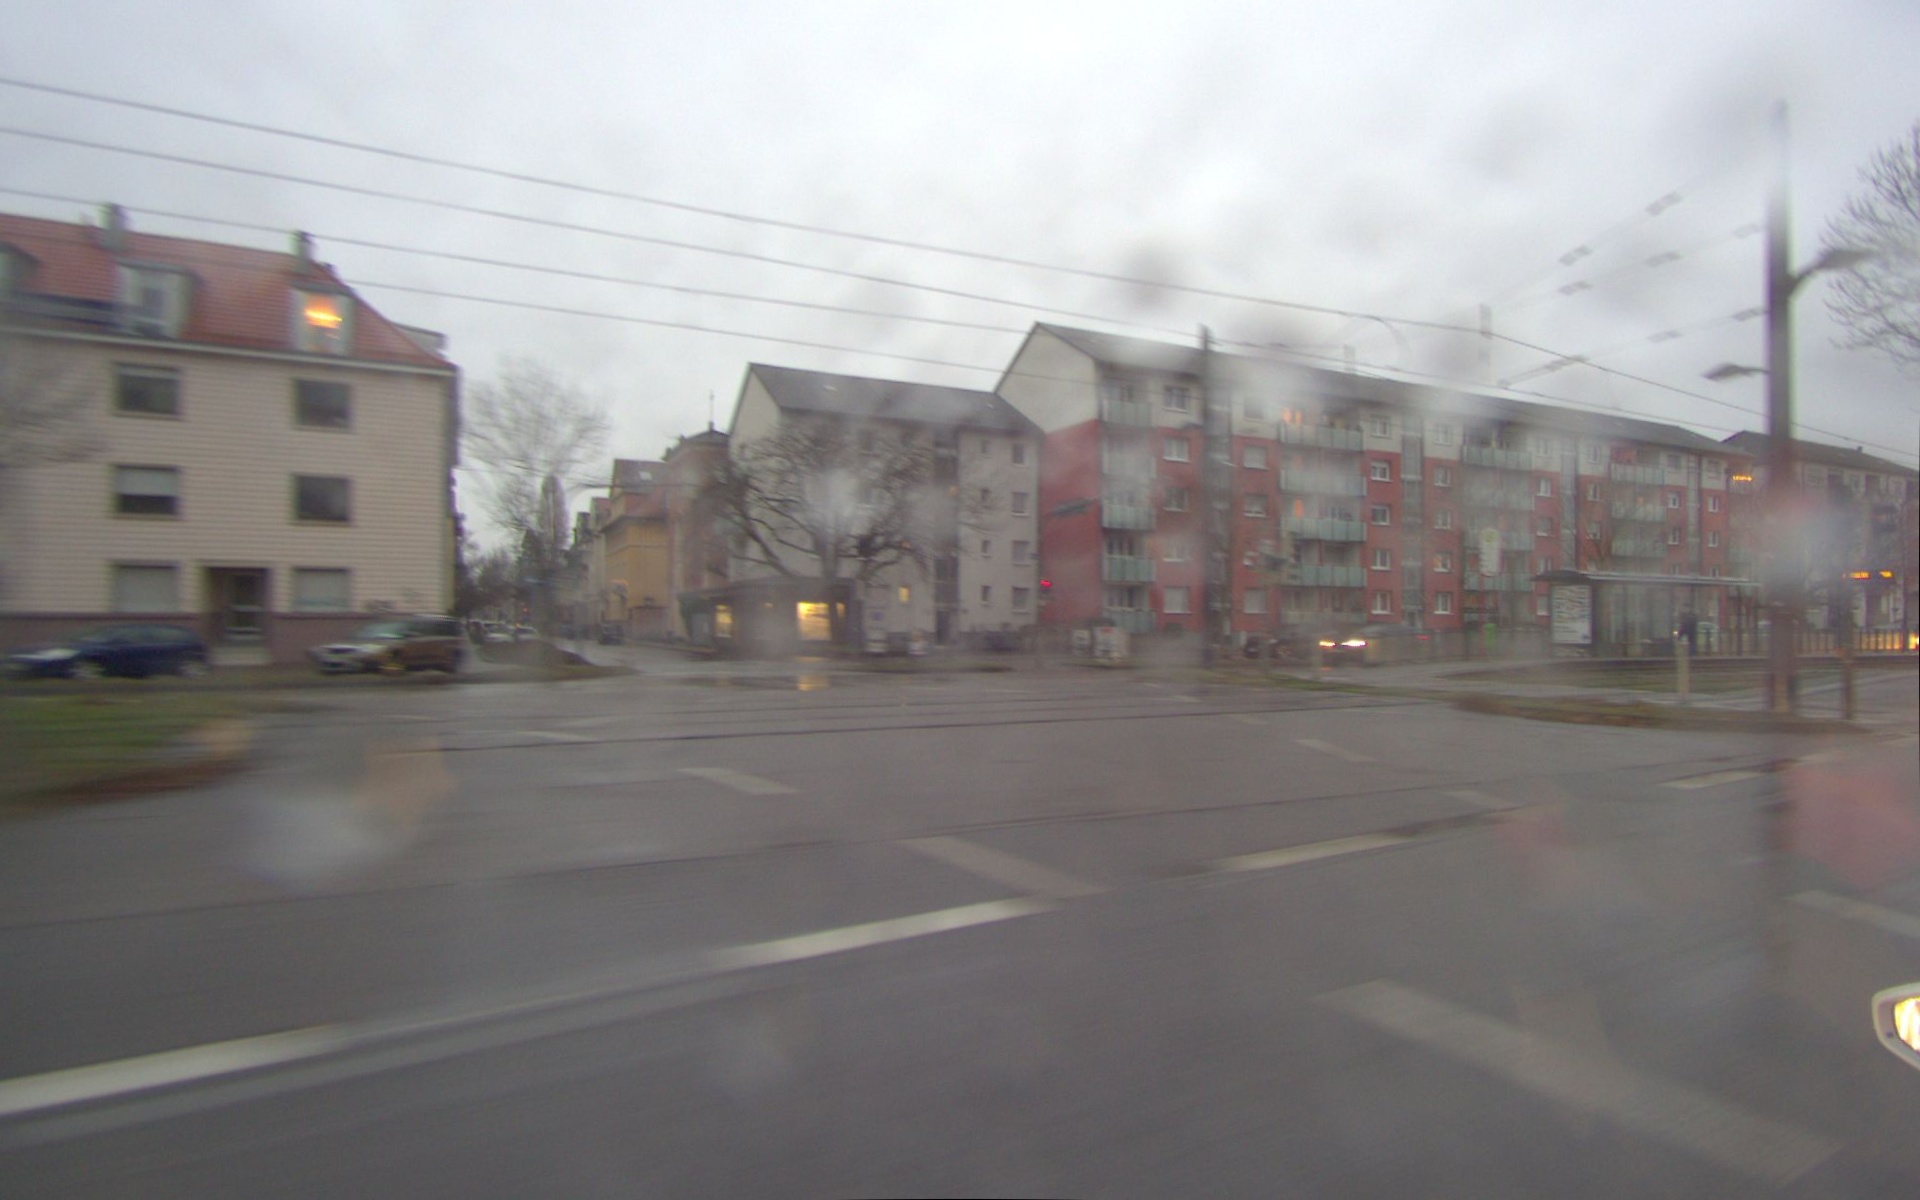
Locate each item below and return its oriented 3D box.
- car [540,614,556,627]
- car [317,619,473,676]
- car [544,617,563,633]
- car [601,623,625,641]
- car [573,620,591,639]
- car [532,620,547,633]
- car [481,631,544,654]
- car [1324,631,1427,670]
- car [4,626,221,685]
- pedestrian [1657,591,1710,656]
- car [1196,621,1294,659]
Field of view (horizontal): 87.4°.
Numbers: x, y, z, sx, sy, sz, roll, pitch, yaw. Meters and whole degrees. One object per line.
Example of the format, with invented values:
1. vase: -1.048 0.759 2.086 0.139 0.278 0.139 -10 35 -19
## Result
1. car: -61.916 3.026 150.893 1.973 1.806 3.975 2 0 -25
2. car: -14.402 1.168 25.850 1.415 1.272 4.002 2 0 6
3. car: -51.544 3.143 127.284 1.973 1.806 3.975 2 0 -25
4. car: -28.201 2.558 81.594 1.540 1.304 3.251 2 0 -23
5. car: -39.347 3.030 104.521 1.540 1.860 3.483 2 0 -23
6. car: -68.065 4.270 162.523 1.973 1.806 3.975 2 0 -25
7. car: -29.547 2.785 66.379 1.532 1.456 3.538 2 0 34
8. car: 16.095 1.936 38.868 3.951 1.386 1.509 2 0 -29
9. car: -19.624 1.232 23.498 1.334 1.146 4.002 2 0 8
10. pedestrian: 23.383 0.751 32.488 1.118 2.040 0.962 2 0 20
11. car: 12.238 1.698 43.312 1.693 1.435 3.965 2 0 -32
